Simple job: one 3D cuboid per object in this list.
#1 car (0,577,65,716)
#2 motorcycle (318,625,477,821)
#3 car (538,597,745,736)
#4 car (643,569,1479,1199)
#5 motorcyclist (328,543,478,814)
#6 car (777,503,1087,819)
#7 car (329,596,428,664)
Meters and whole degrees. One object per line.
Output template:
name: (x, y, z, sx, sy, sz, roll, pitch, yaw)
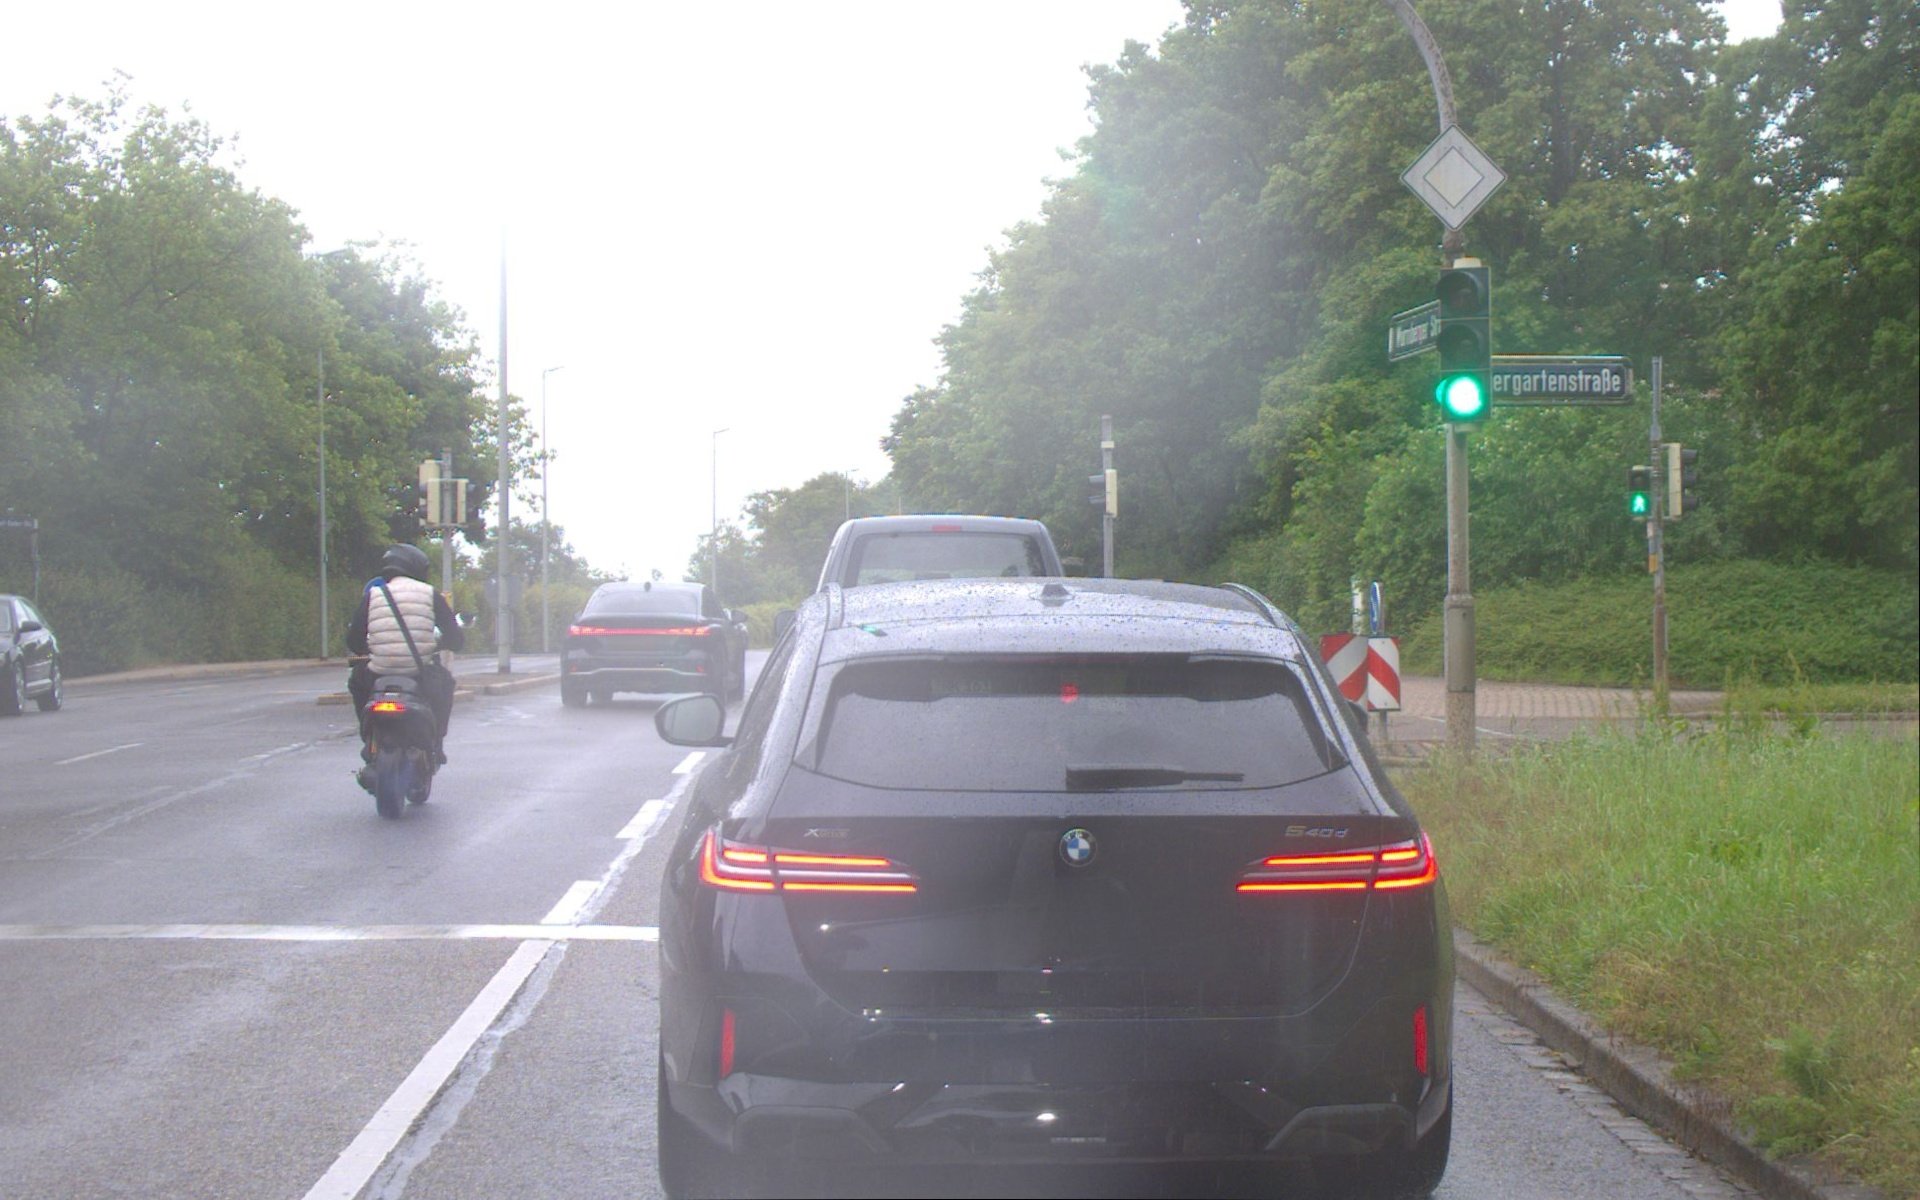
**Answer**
car: (-11.517, 0.515, 39.315, 1.862, 1.487, 3.834, -1, 1, -5)
motorcycle: (-3.417, 0.733, 20.980, 0.741, 1.116, 1.426, 1, 1, -1)
car: (-3.597, 0.721, 39.566, 2.014, 1.410, 4.487, 1, 1, -1)
car: (0.190, 0.705, 9.145, 1.764, 1.531, 3.673, 1, 1, -1)
motorcyclist: (-3.406, 0.473, 21.044, 0.845, 1.641, 0.468, 0, 1, -1)
car: (-0.189, 0.316, 21.775, 1.767, 1.804, 3.905, 1, 1, -1)
car: (-13.803, 0.694, 81.814, 1.727, 1.480, 4.157, -2, 1, -2)
